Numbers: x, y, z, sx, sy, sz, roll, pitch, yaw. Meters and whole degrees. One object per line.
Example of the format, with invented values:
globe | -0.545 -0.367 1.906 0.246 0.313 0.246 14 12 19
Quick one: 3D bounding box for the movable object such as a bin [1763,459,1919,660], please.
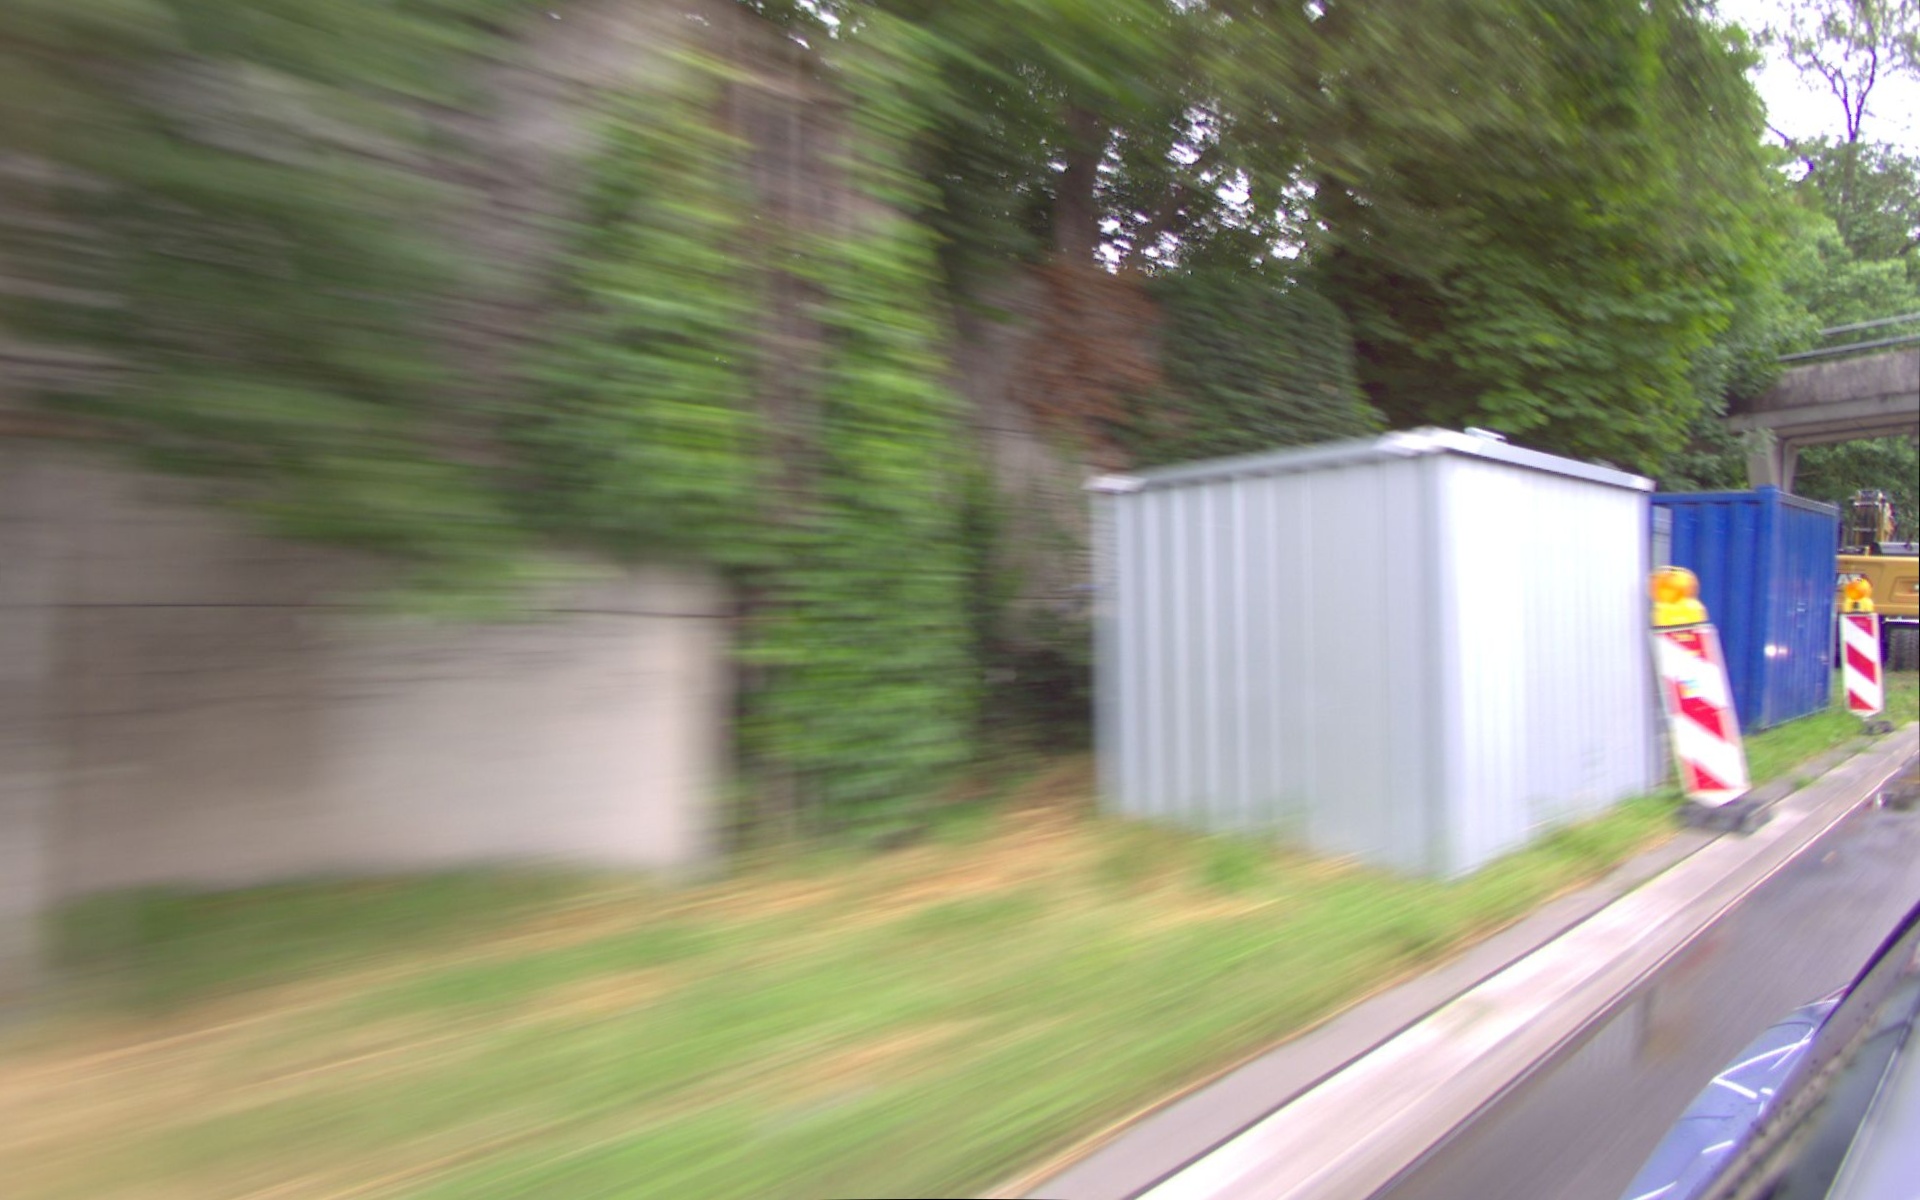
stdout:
movable object such as a bin | 20.565 -0.838 22.856 6.002 3.989 2.885 -1 0 -43
